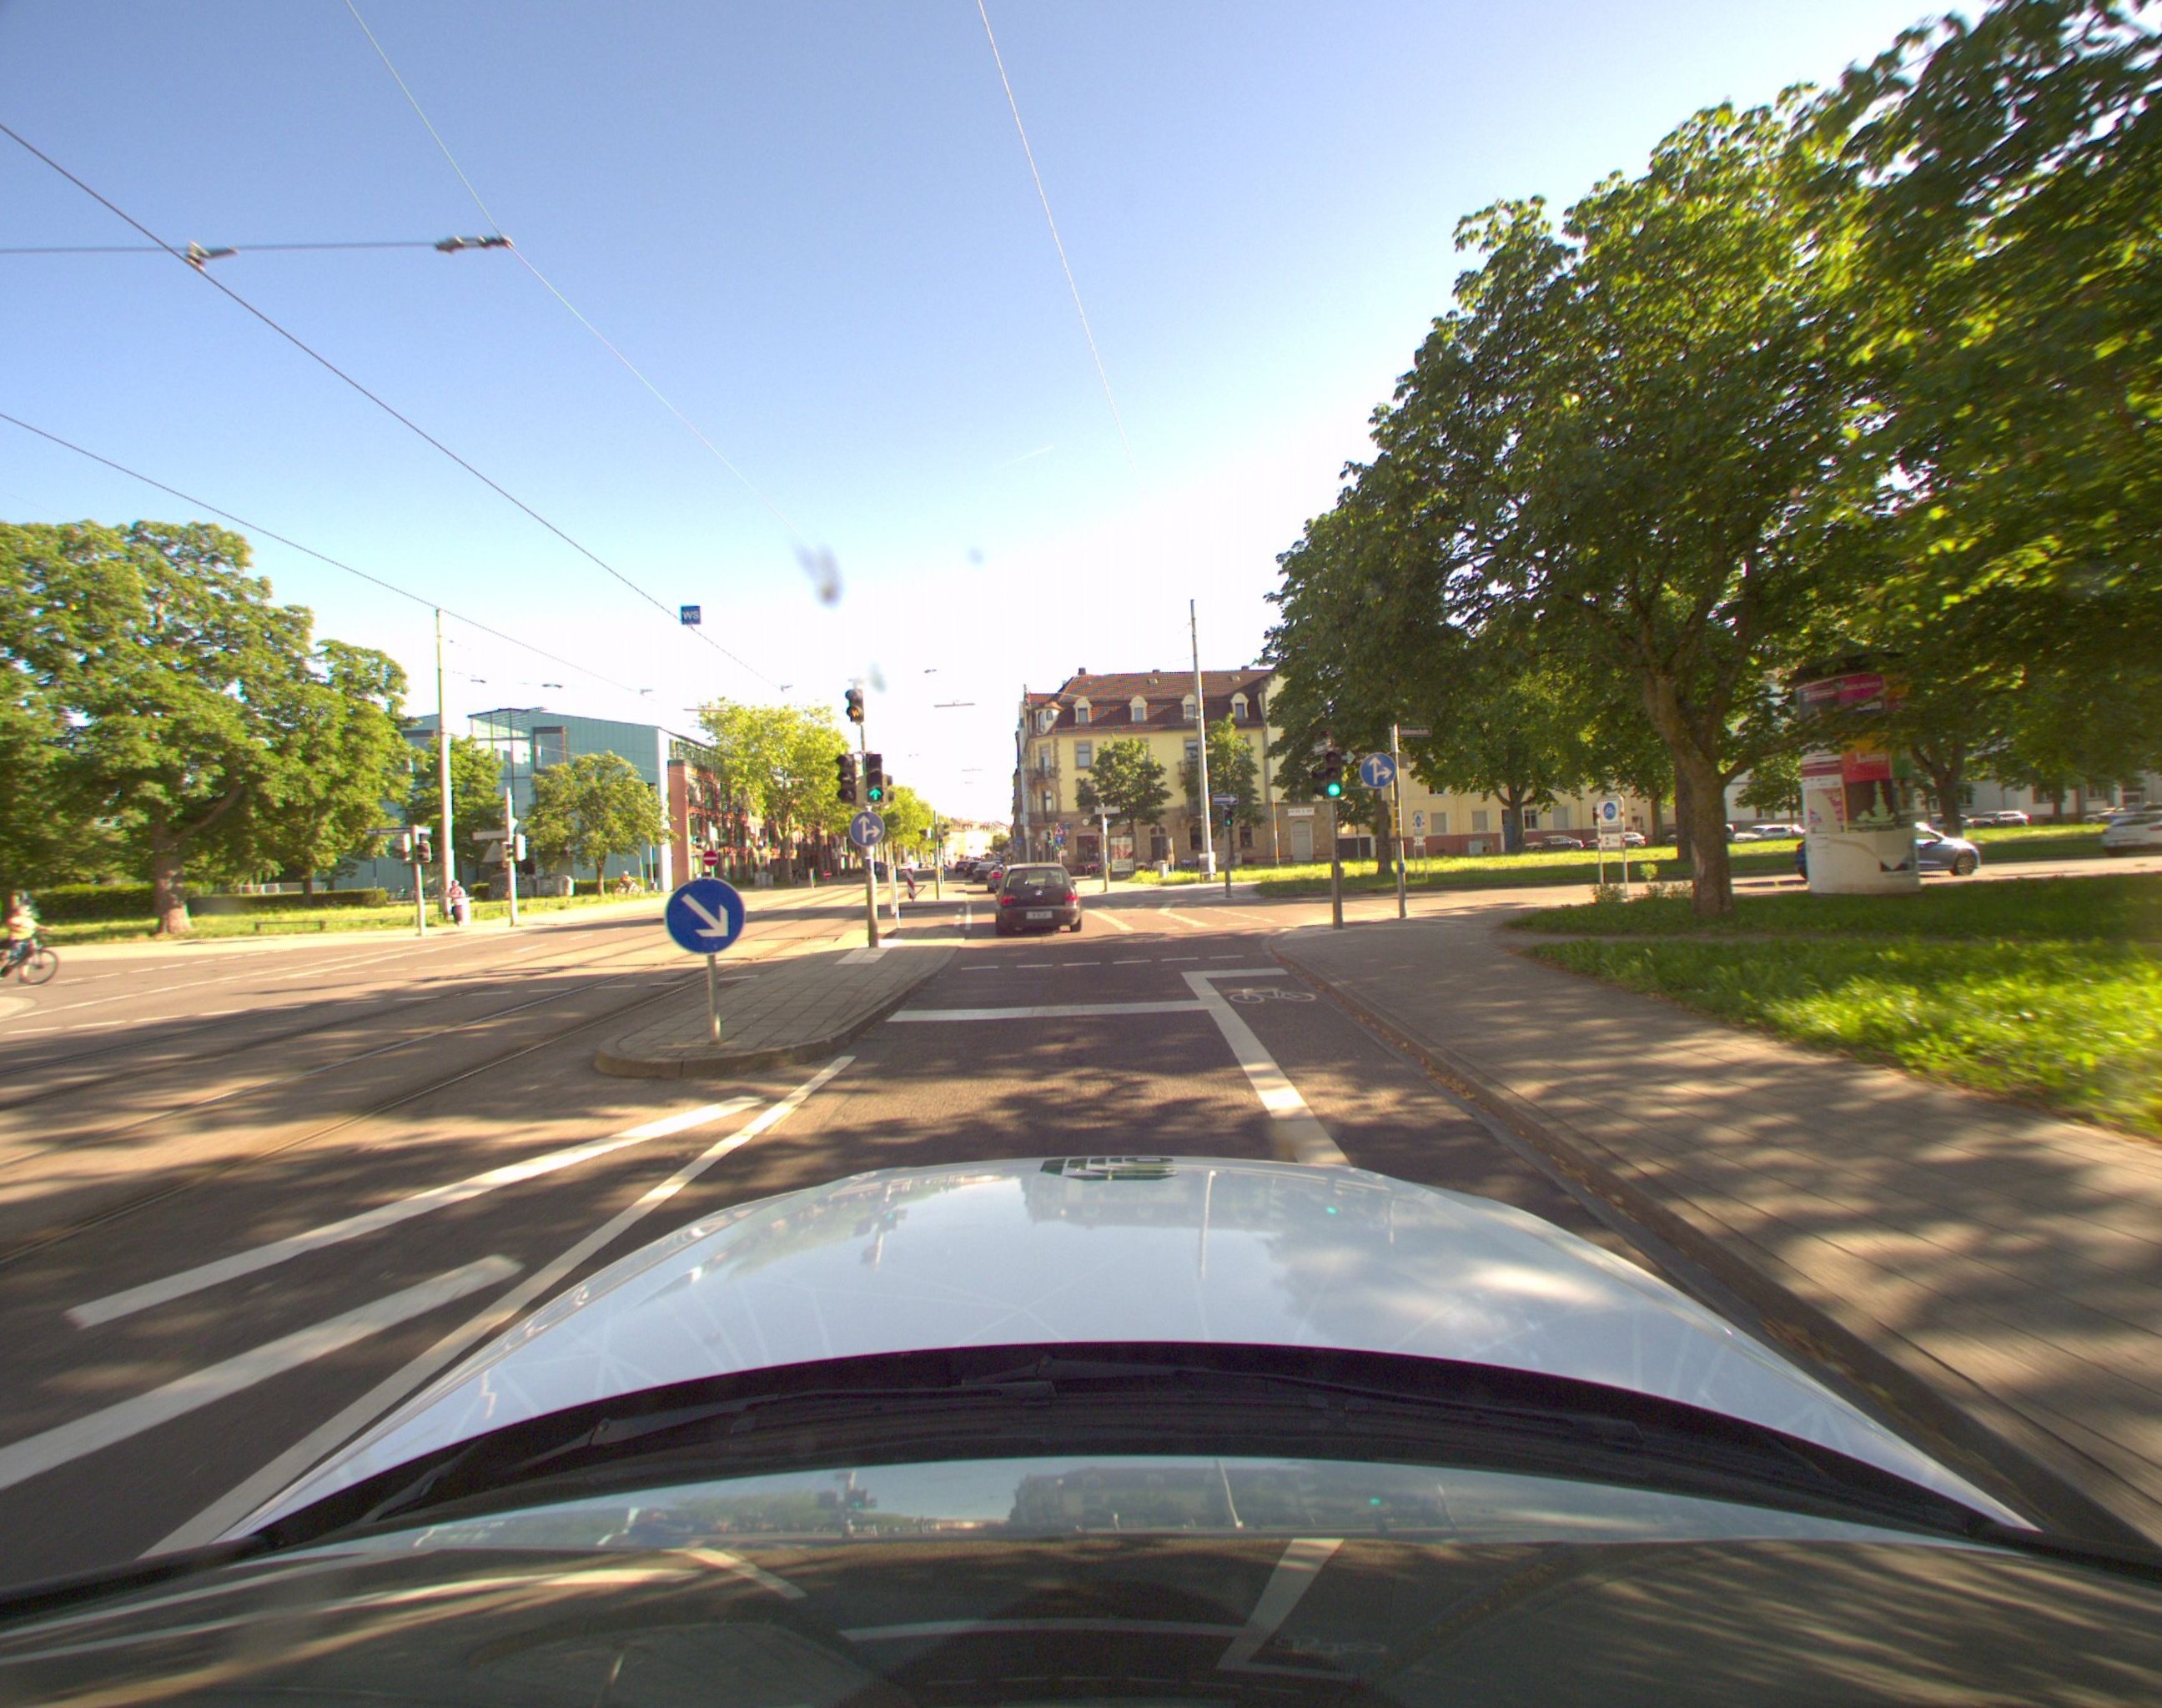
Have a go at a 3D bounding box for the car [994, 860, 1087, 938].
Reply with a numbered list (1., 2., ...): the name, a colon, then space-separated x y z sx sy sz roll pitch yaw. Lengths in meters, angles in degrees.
1. car: -0.975 0.852 17.296 1.714 1.402 3.997 -1 0 -6

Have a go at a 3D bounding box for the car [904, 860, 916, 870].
1. car: -35.927 2.247 171.555 1.992 2.014 3.990 -3 -1 -7

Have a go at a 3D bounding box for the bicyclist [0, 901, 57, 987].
1. bicyclist: -21.863 1.857 16.813 0.677 1.685 0.538 -3 0 2

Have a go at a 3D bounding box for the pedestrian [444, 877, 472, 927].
1. pedestrian: -21.448 1.639 28.031 0.612 1.689 0.728 0 0 -24

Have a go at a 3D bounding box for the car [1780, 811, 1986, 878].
1. car: 20.370 -0.239 20.751 3.988 1.448 1.784 -3 0 -11

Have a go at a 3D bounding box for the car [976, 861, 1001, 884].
1. car: -6.396 1.257 56.095 1.569 1.311 3.637 -3 2 -8

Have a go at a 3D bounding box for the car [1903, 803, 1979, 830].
1. car: 64.607 -2.808 61.179 3.987 1.815 1.758 -3 0 -4

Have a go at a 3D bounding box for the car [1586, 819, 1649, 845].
1. car: 43.015 -1.740 65.331 3.948 1.815 1.758 -3 0 -4

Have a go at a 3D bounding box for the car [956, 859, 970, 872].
1. car: -15.182 1.473 104.643 1.680 1.453 3.370 -3 0 -7

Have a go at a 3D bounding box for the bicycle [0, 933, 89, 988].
1. bicycle: -21.782 2.210 16.807 1.938 1.015 0.538 -3 0 1

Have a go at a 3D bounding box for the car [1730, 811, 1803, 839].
1. car: 50.556 -2.153 60.140 3.987 1.815 1.758 -3 0 -4

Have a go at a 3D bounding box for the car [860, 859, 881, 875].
1. car: -25.201 1.558 97.576 1.972 1.815 4.282 -3 0 -10

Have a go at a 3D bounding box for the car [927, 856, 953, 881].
1. car: -11.306 1.163 65.420 1.786 1.859 3.990 -2 0 -7

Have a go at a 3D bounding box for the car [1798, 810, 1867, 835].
1. car: 61.589 -2.596 66.788 4.089 1.815 1.758 -3 0 -4

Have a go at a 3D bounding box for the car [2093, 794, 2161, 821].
1. car: 81.243 -3.589 62.543 4.806 1.815 1.991 -3 0 -3

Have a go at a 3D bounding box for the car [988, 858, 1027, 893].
1. car: -3.346 0.943 37.232 1.632 1.372 3.750 -3 0 -5

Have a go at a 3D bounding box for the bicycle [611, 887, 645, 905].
1. bicycle: -31.214 2.879 56.090 1.927 1.106 0.556 -3 0 -40

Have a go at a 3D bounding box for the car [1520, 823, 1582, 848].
1. car: 37.631 -1.453 65.305 3.948 1.815 1.758 -3 0 -4

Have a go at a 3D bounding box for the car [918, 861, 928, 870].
1. car: -40.033 2.896 206.141 1.992 2.014 3.990 -3 -1 -7

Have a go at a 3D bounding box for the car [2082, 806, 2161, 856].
1. car: 33.653 -0.772 24.998 3.787 1.441 1.744 -3 0 -2

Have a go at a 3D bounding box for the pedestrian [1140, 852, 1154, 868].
1. pedestrian: 5.296 0.497 65.246 0.978 1.187 0.742 -3 0 -7

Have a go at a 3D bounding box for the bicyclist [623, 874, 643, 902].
1. bicyclist: -30.969 2.357 56.311 1.109 1.884 0.445 -3 0 -40
